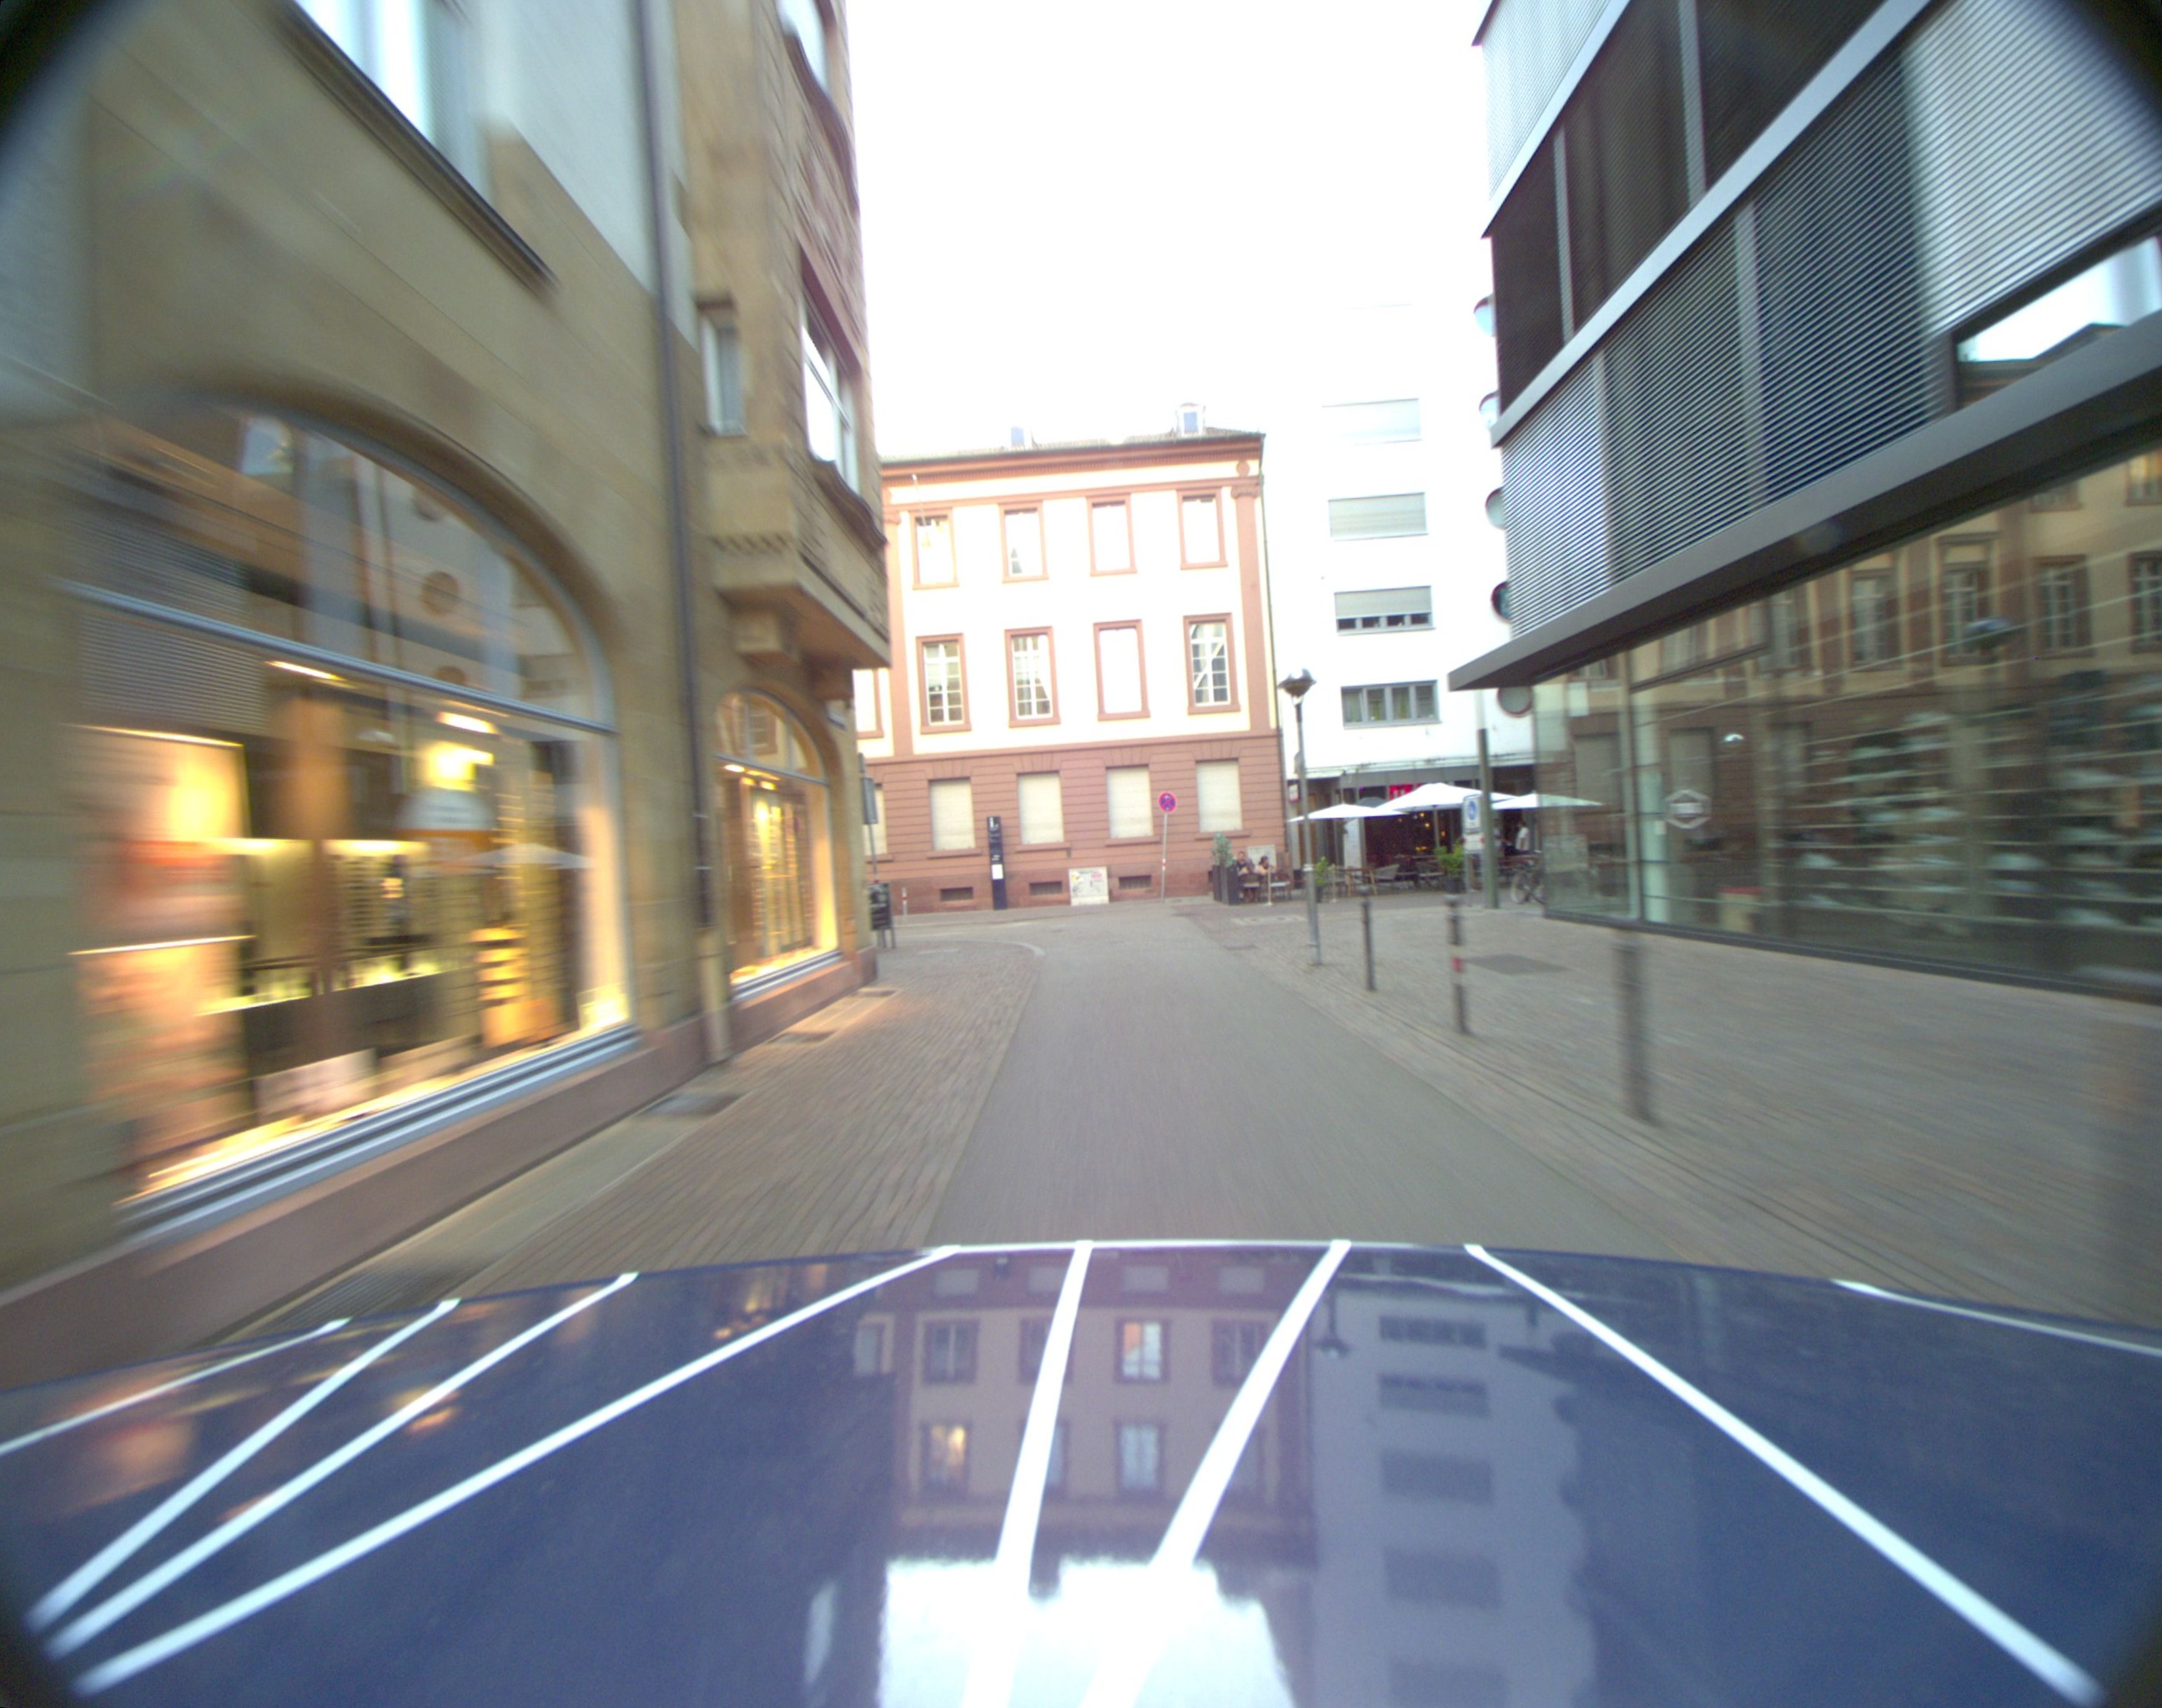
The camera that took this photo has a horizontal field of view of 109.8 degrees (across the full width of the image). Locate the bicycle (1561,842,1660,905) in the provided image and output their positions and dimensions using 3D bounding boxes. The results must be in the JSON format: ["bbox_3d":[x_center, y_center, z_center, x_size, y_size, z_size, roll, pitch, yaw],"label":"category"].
[{"bbox_3d":[10.219,0.385,14.765,0.466,1.114,2.017,-4,-2,1],"label":"bicycle"}]

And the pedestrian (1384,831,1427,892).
[{"bbox_3d":[8.979,0.206,21.057,0.725,1.639,0.792,-4,0,-4],"label":"pedestrian"}]

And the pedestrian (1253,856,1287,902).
[{"bbox_3d":[5.180,0.671,20.854,0.673,1.177,0.792,-4,2,-1],"label":"pedestrian"}]

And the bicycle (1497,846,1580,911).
[{"bbox_3d":[8.599,0.464,14.356,0.466,1.129,1.703,-4,-2,1],"label":"bicycle"}]

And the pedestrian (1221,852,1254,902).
[{"bbox_3d":[4.355,0.632,21.163,0.673,1.323,0.792,-4,2,-1],"label":"pedestrian"}]

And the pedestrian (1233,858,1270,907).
[{"bbox_3d":[4.451,0.732,19.837,0.673,1.177,0.792,-4,2,-4],"label":"pedestrian"}]

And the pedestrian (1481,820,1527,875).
[{"bbox_3d":[13.192,-0.197,23.695,0.800,1.649,0.858,-4,1,-16],"label":"pedestrian"}]
